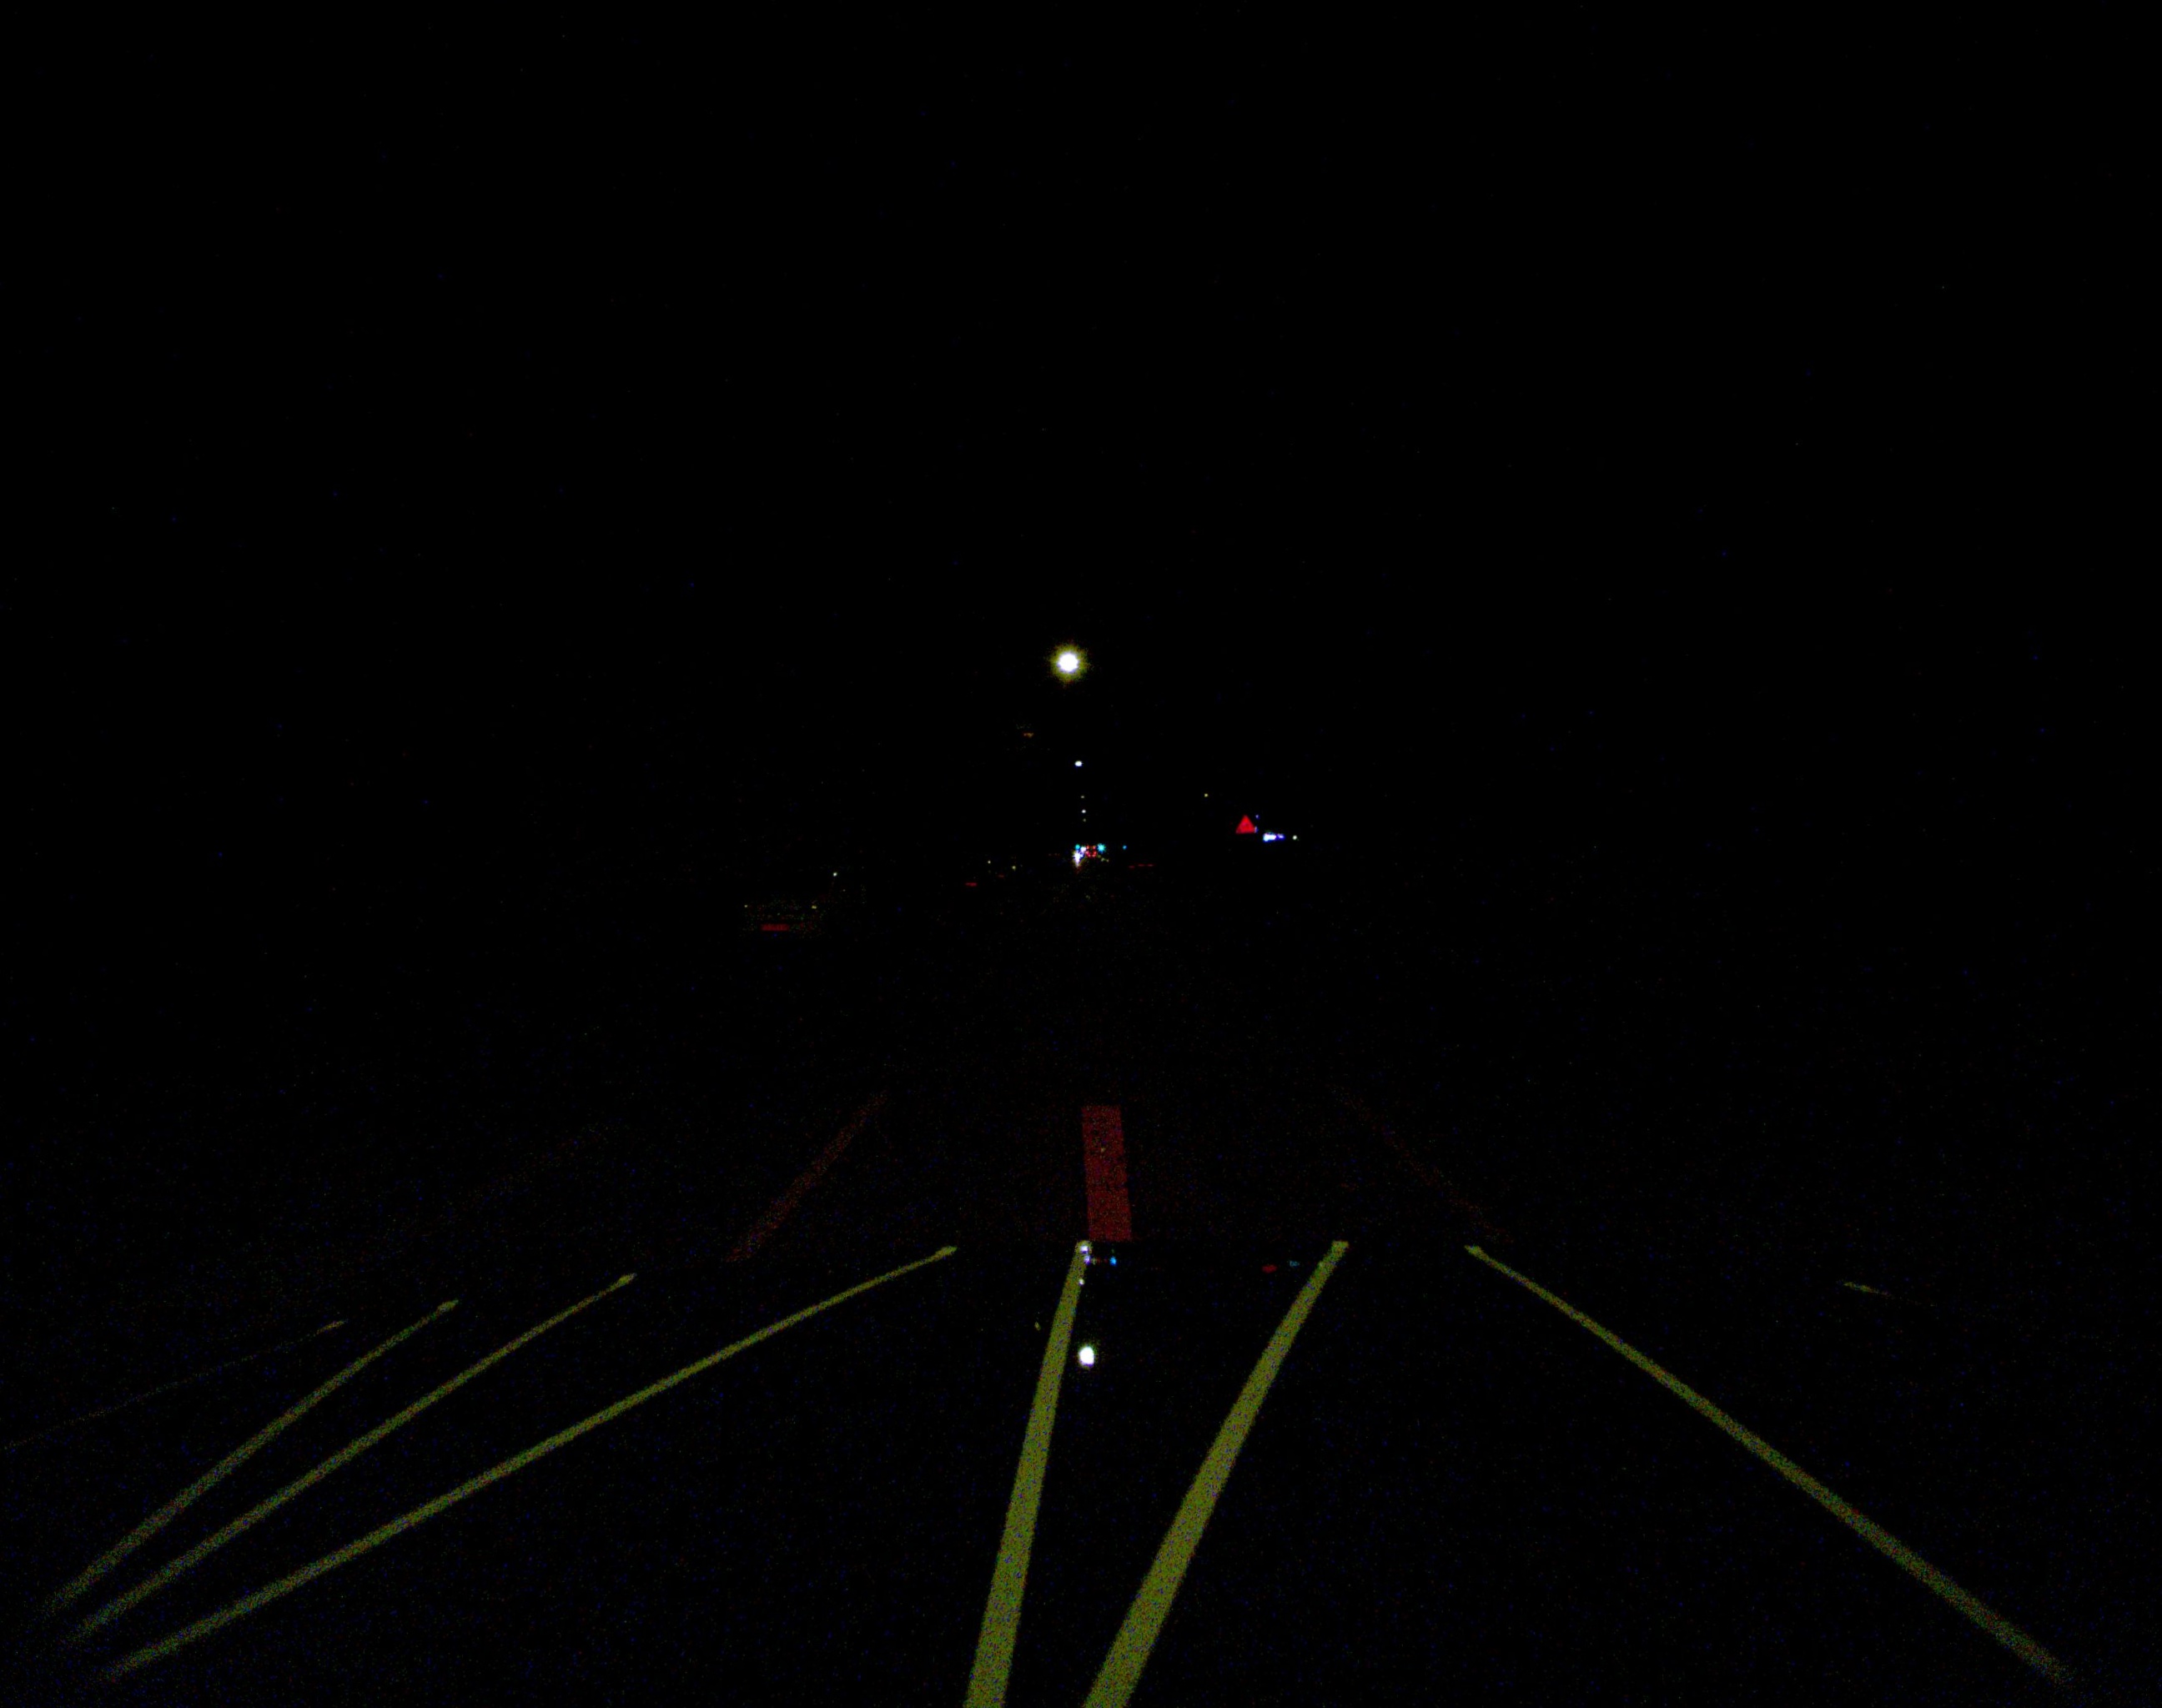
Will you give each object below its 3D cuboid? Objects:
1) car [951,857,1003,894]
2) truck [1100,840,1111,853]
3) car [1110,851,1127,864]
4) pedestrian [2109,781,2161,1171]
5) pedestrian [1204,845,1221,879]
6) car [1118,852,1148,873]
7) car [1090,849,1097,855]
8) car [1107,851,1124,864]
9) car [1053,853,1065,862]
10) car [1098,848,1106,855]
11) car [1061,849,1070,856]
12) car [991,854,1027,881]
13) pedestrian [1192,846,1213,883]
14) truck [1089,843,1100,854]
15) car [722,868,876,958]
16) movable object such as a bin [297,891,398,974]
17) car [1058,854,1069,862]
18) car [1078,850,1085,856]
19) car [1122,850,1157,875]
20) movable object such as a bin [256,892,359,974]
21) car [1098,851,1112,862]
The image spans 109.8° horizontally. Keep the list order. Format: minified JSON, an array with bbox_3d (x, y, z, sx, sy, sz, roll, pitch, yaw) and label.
[{"bbox_3d":[-4.578,0.913,33.978,1.865,1.544,4.044,0,0,-1],"label":"car"},{"bbox_3d":[4.928,-1.451,155.204,2.084,2.562,6.873,-2,0,1],"label":"truck"},{"bbox_3d":[4.941,0.442,100.562,1.874,1.635,3.999,-2,0,-3],"label":"car"},{"bbox_3d":[5.124,0.537,3.021,0.677,1.735,1.028,-2,1,0],"label":"pedestrian"},{"bbox_3d":[6.843,0.430,39.528,0.670,1.716,0.866,-2,1,-2],"label":"pedestrian"},{"bbox_3d":[3.877,0.627,57.537,1.864,1.458,3.896,-4,0,-1],"label":"car"},{"bbox_3d":[3.585,-0.575,211.023,1.873,1.635,4.000,-2,0,1],"label":"car"},{"bbox_3d":[4.697,0.474,104.818,1.874,1.635,3.999,-2,0,-3],"label":"car"},{"bbox_3d":[-3.608,0.540,127.908,1.874,1.407,3.999,-2,0,0],"label":"car"},{"bbox_3d":[4.956,-0.559,180.008,1.873,1.551,4.353,-2,0,1],"label":"car"},{"bbox_3d":[-3.366,-0.301,163.796,1.874,1.407,3.999,-2,0,0],"label":"car"},{"bbox_3d":[-4.465,0.828,47.499,1.742,1.588,4.359,0,0,1],"label":"car"},{"bbox_3d":[5.665,0.492,35.467,0.744,1.662,1.103,-2,1,0],"label":"pedestrian"},{"bbox_3d":[4.150,-1.729,234.444,3.222,3.360,8.850,-2,0,1],"label":"truck"},{"bbox_3d":[-5.341,1.052,14.891,1.672,1.476,3.603,0,0,0],"label":"car"},{"bbox_3d":[-10.088,1.061,10.479,0.609,1.042,0.755,-2,1,1],"label":"movable object such as a bin"},{"bbox_3d":[-3.016,0.720,134.492,1.874,1.407,3.999,-2,0,0],"label":"car"},{"bbox_3d":[0.072,-0.287,213.226,1.874,1.635,3.999,-2,0,0],"label":"car"},{"bbox_3d":[3.956,0.578,52.022,1.864,1.524,4.587,-4,0,-1],"label":"car"},{"bbox_3d":[-10.726,1.080,10.562,0.609,1.042,0.755,-2,1,1],"label":"movable object such as a bin"},{"bbox_3d":[3.698,0.341,119.188,1.874,1.635,3.999,-2,0,-3],"label":"car"}]
